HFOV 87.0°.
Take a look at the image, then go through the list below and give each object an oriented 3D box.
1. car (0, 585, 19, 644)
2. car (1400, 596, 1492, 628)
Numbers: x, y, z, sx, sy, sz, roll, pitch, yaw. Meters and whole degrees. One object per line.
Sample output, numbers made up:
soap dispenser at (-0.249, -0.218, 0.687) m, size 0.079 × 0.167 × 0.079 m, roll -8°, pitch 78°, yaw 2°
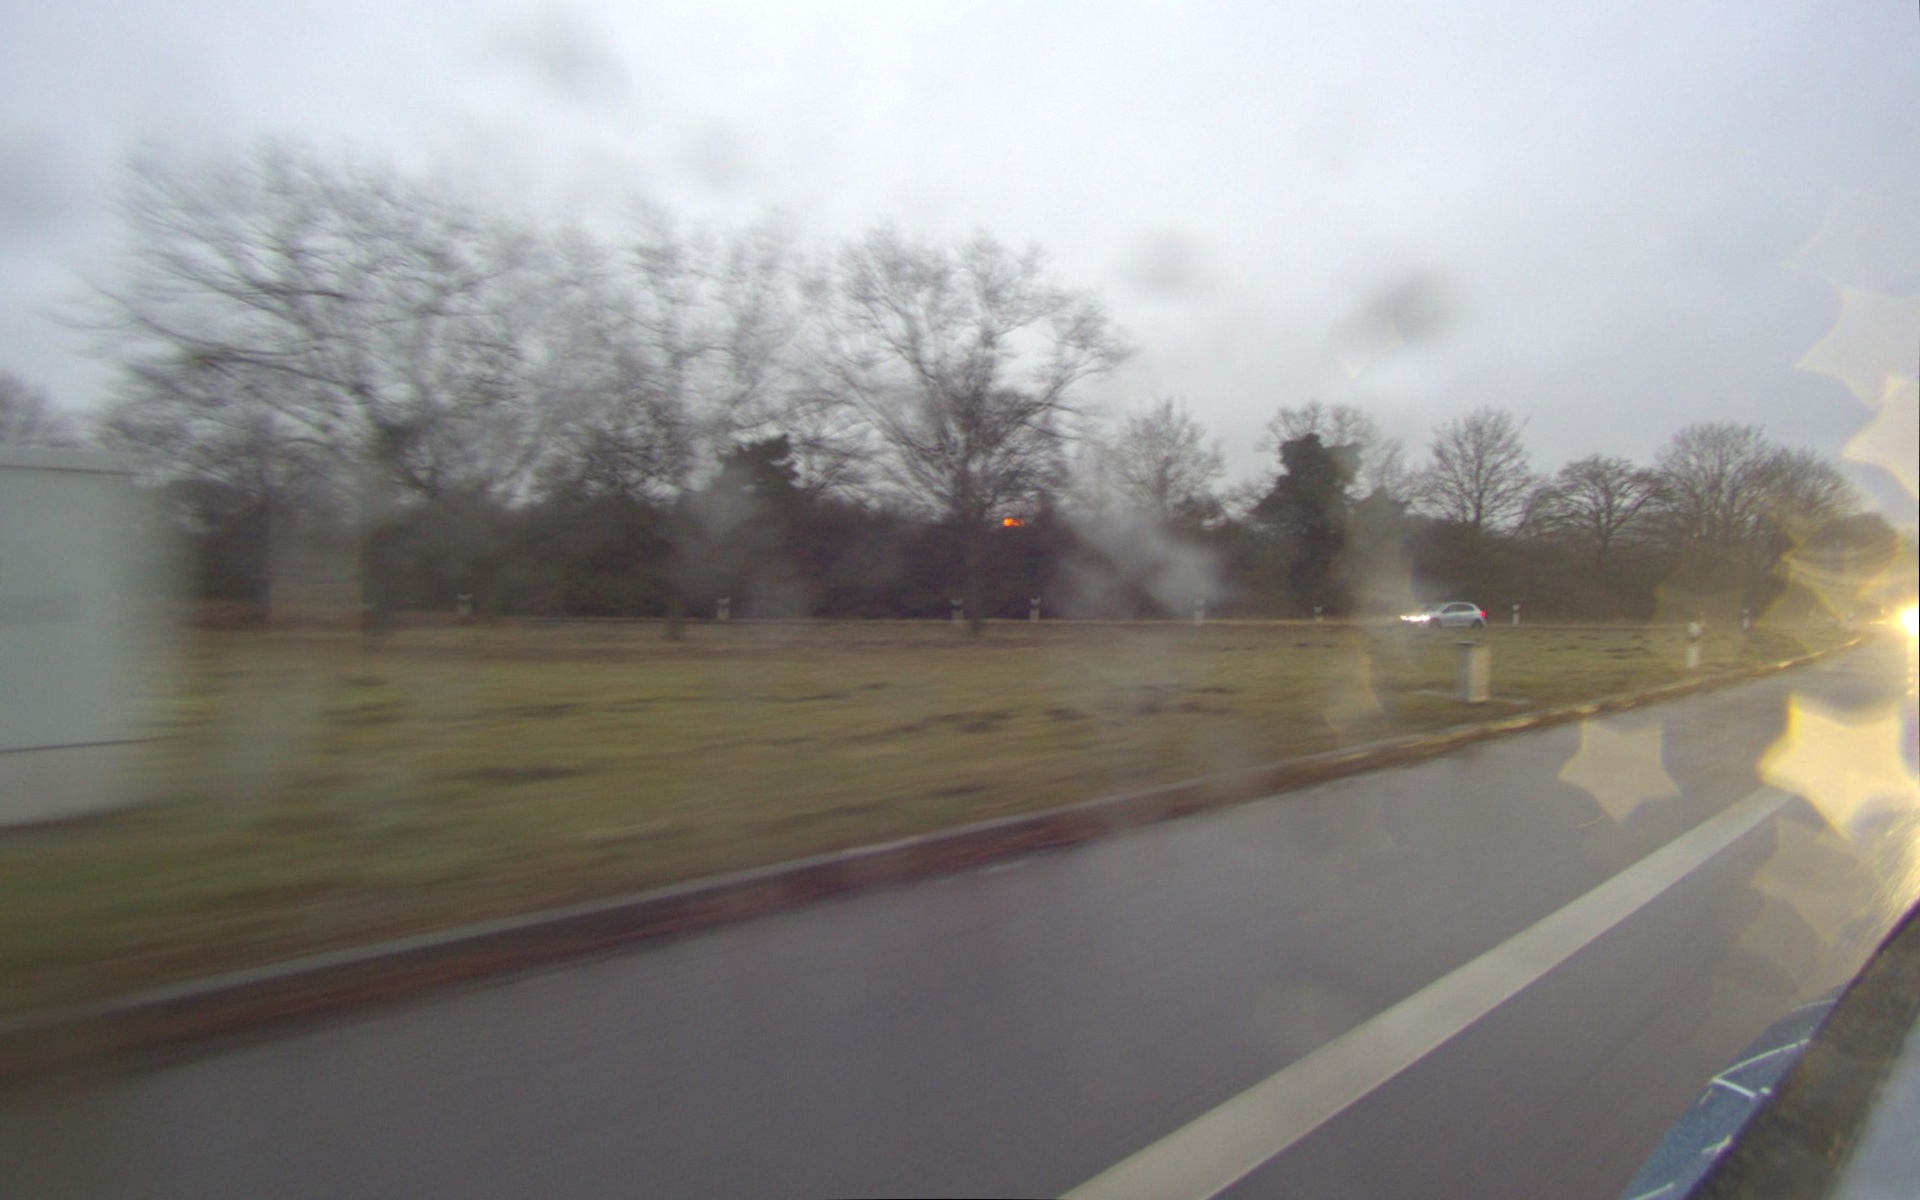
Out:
car at (-24.517, 0.311, 24.747) m, size 1.901 × 1.376 × 4.392 m, roll 0°, pitch 1°, yaw -39°
car at (23.133, 0.552, 48.199) m, size 3.711 × 1.452 × 1.733 m, roll 0°, pitch 1°, yaw -15°
